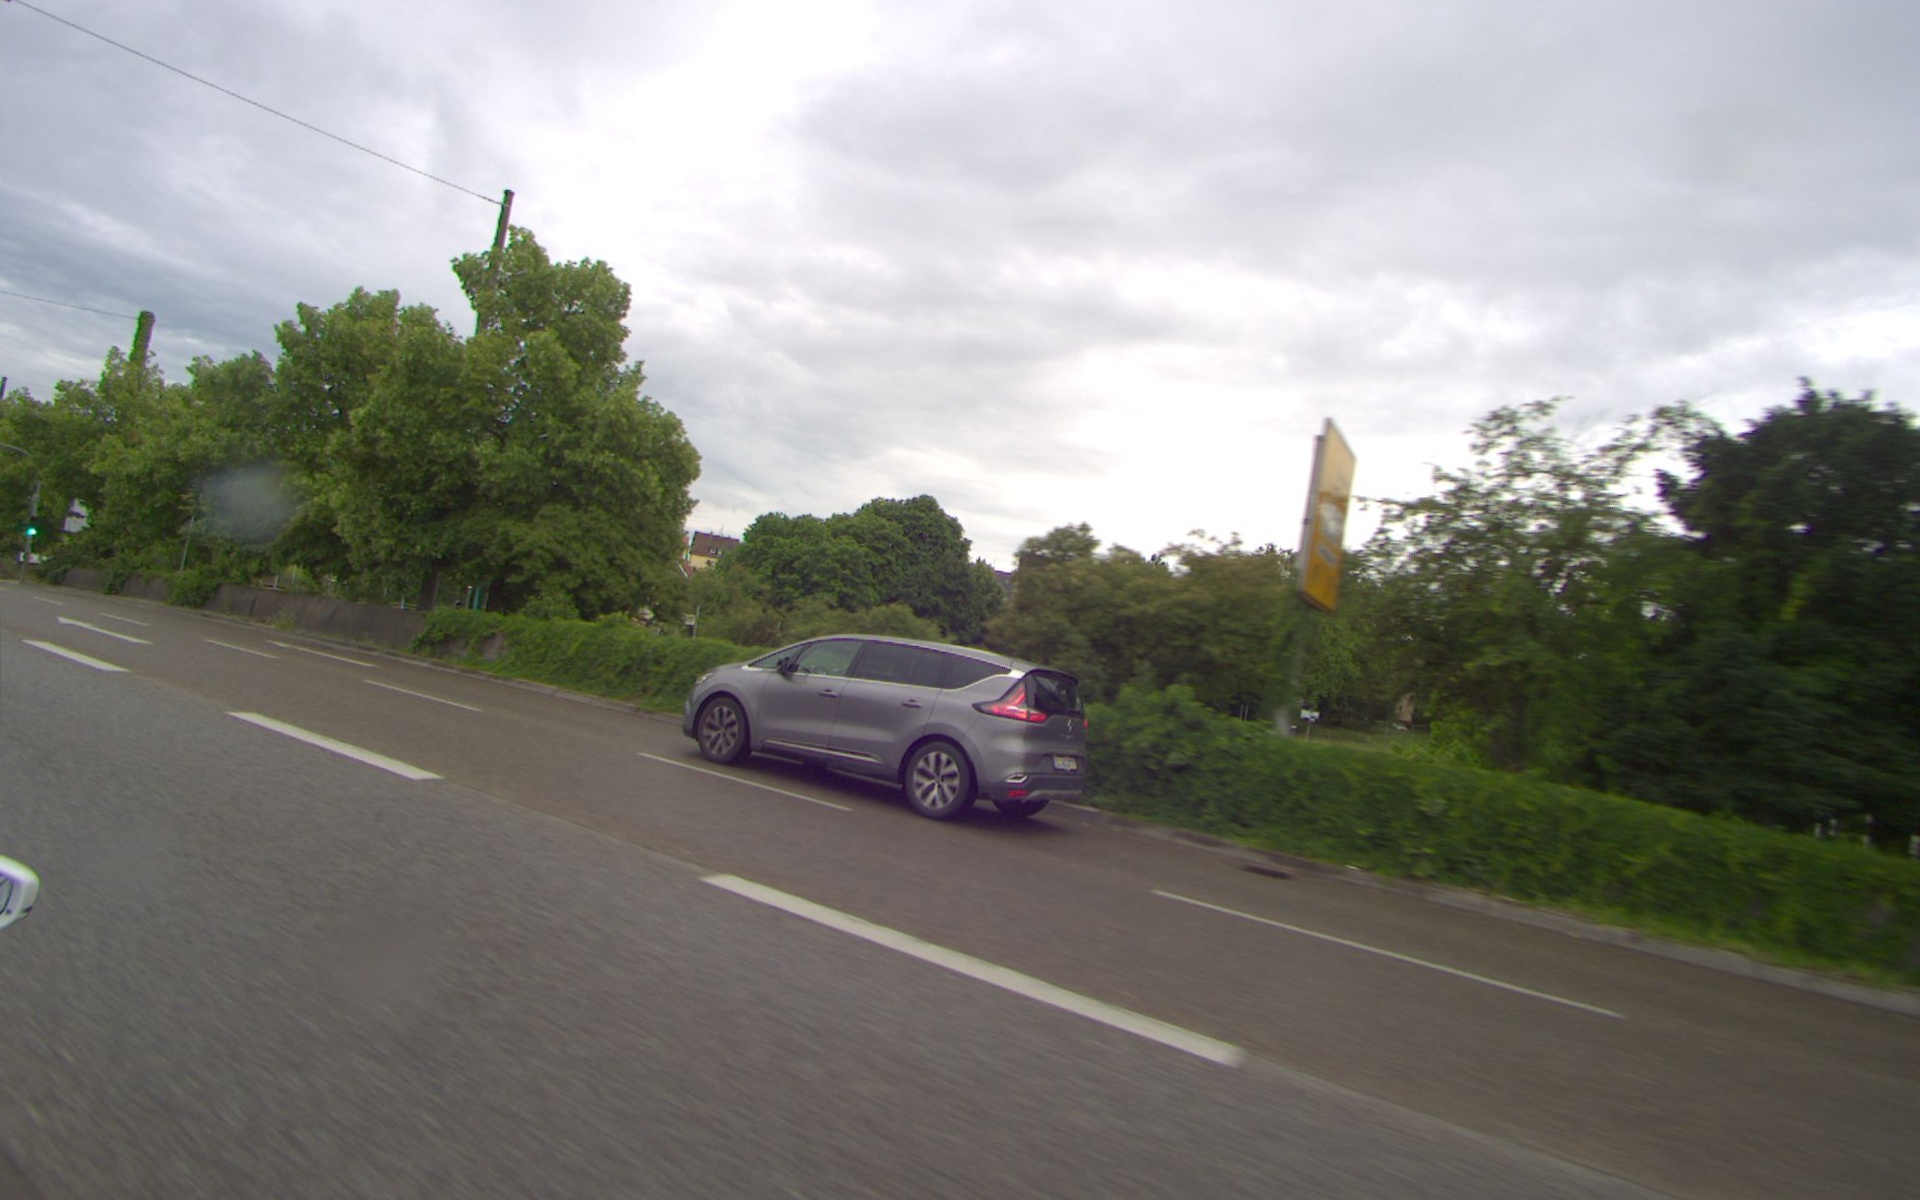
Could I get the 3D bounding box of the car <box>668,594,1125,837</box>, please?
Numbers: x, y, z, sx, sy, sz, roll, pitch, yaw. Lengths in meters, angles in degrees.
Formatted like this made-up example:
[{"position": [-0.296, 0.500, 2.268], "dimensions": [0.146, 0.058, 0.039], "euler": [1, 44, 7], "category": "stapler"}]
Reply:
[{"position": [-0.782, 1.146, 10.798], "dimensions": [4.549, 1.665, 1.731], "euler": [7, -5, 33], "category": "car"}]
